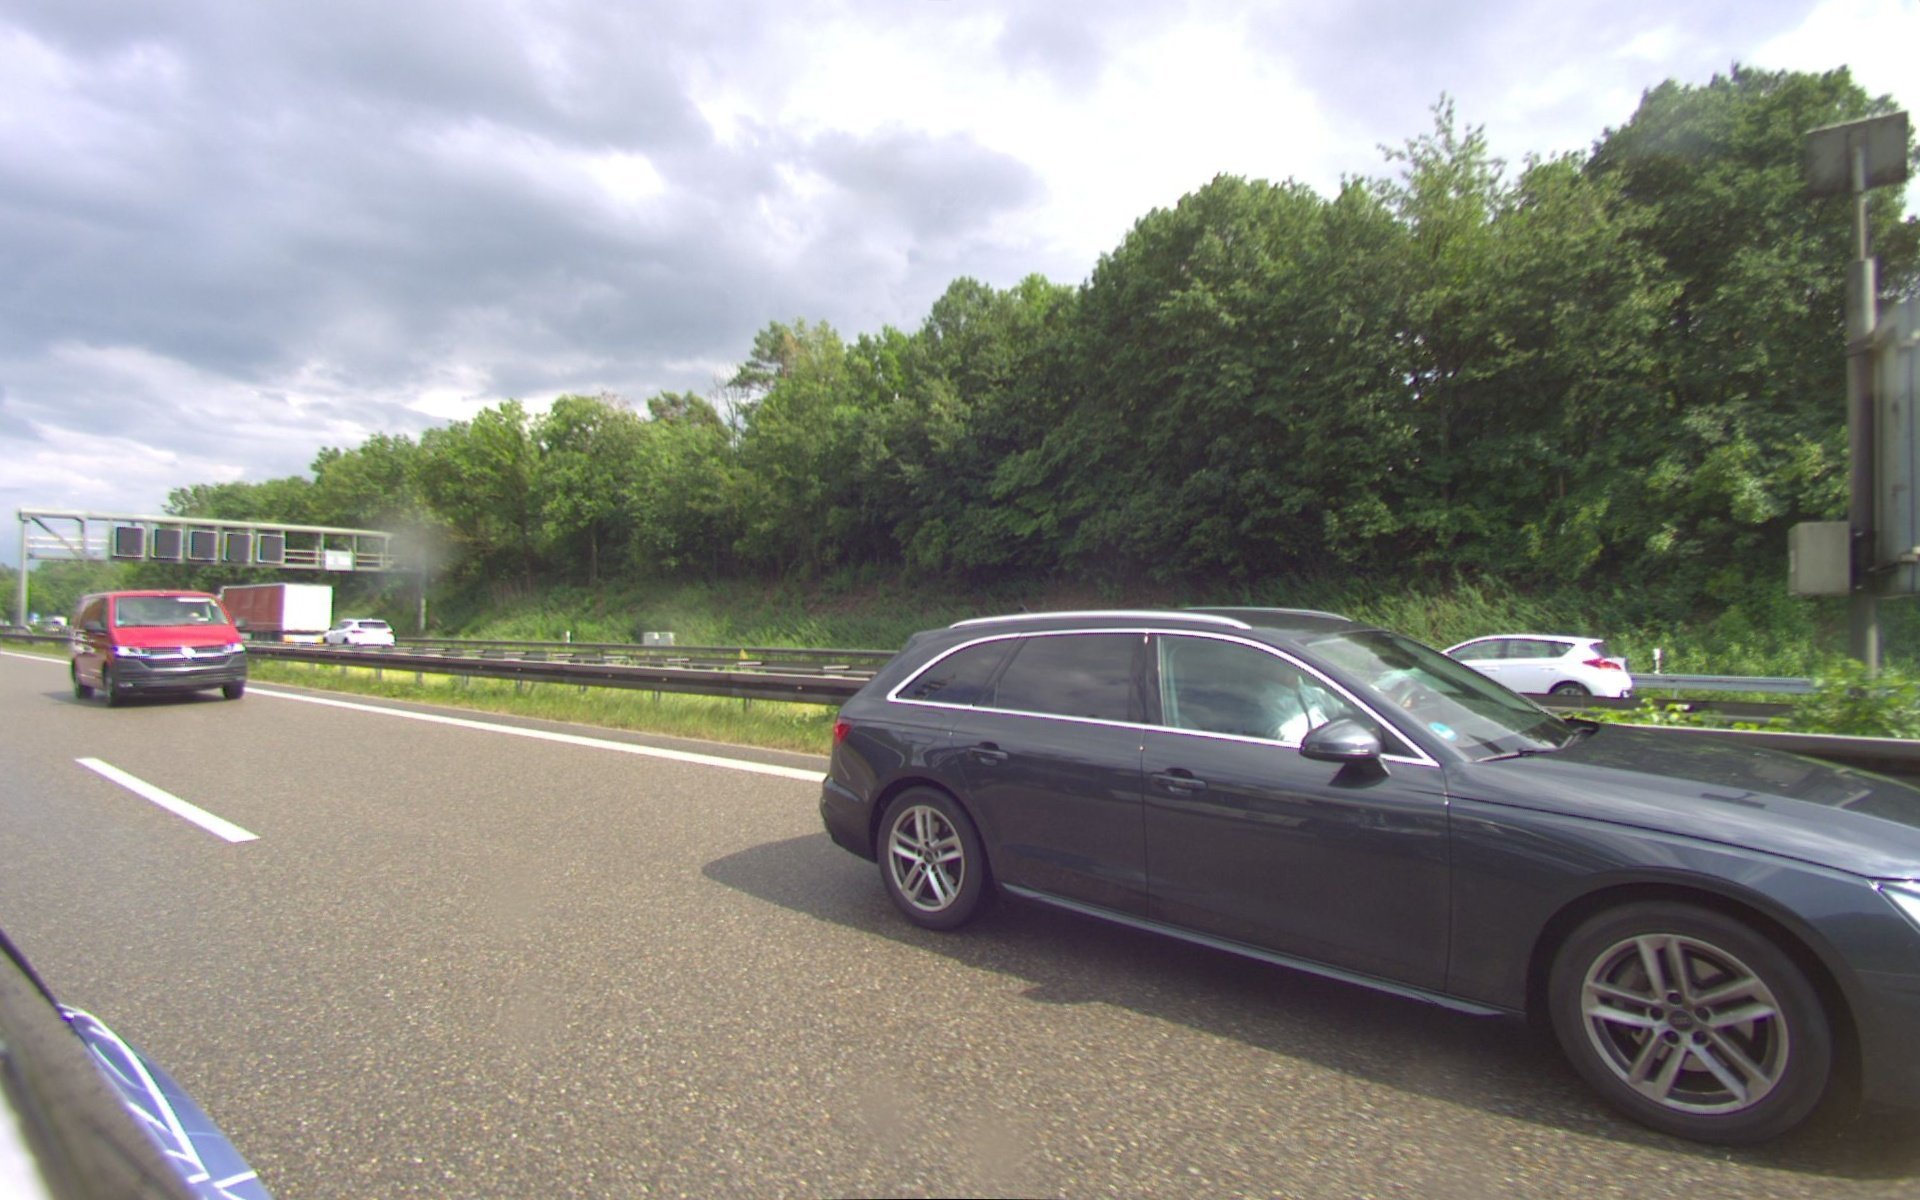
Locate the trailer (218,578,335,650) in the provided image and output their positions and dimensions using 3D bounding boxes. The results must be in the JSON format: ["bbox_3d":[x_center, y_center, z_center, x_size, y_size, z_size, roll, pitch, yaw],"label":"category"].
[{"bbox_3d":[-45.884,0.937,67.628,14.082,4.406,2.834,-1,0,40],"label":"trailer"}]

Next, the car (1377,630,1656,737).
[{"bbox_3d":[10.102,1.416,18.560,4.233,1.675,1.714,-1,0,40],"label":"car"}]

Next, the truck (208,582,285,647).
[{"bbox_3d":[-50.623,1.023,71.709,6.863,4.406,2.834,-1,0,40],"label":"truck"}]

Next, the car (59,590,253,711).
[{"bbox_3d":[-14.472,0.810,18.113,4.837,1.880,1.902,-1,0,41],"label":"car"}]

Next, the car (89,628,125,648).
[{"bbox_3d":[-72.877,3.225,86.407,4.233,1.675,1.682,-1,0,40],"label":"car"}]

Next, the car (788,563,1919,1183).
[{"bbox_3d":[1.543,0.646,4.111,4.837,1.429,1.775,-1,0,41],"label":"car"}]

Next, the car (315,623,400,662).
[{"bbox_3d":[-28.266,1.934,47.407,4.695,1.675,1.996,-1,0,40],"label":"car"}]
